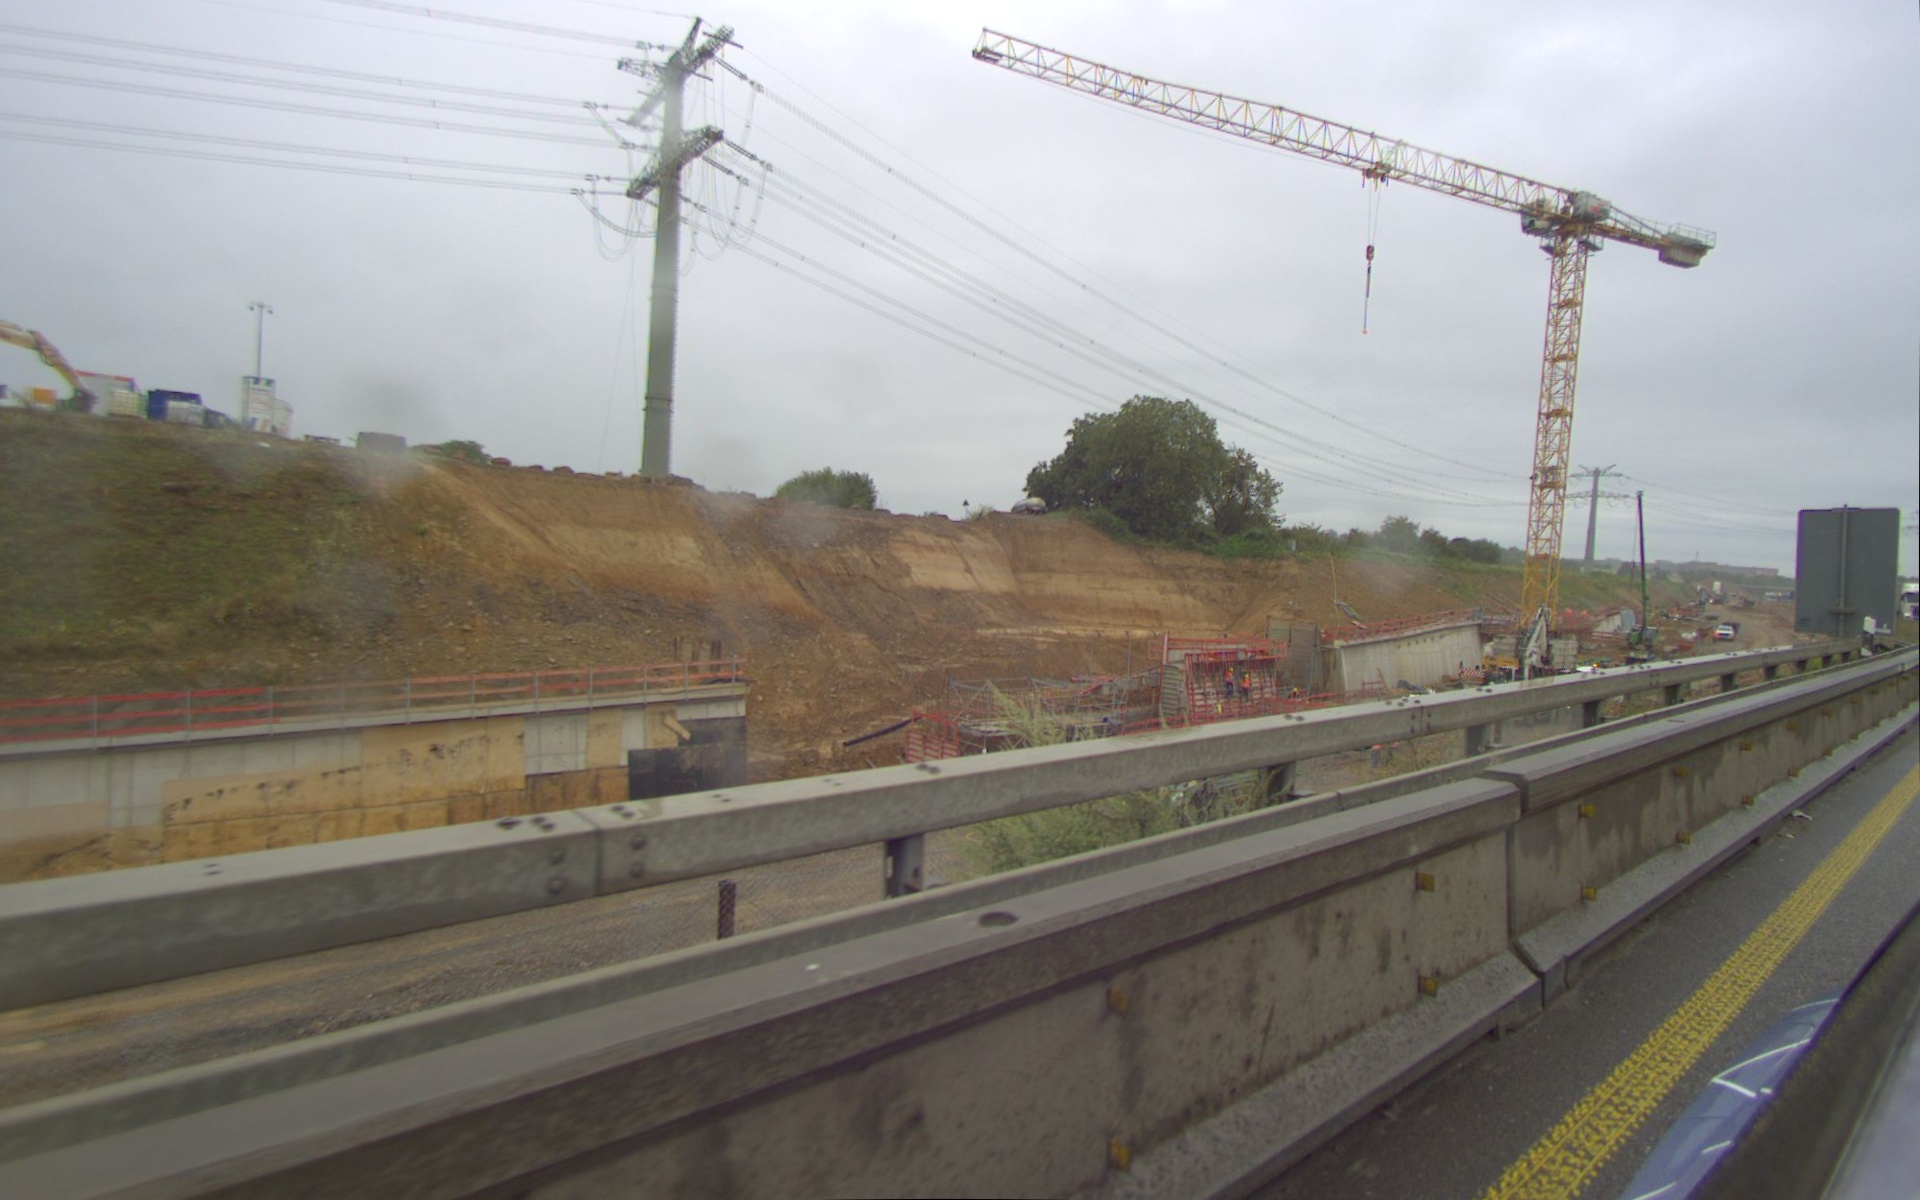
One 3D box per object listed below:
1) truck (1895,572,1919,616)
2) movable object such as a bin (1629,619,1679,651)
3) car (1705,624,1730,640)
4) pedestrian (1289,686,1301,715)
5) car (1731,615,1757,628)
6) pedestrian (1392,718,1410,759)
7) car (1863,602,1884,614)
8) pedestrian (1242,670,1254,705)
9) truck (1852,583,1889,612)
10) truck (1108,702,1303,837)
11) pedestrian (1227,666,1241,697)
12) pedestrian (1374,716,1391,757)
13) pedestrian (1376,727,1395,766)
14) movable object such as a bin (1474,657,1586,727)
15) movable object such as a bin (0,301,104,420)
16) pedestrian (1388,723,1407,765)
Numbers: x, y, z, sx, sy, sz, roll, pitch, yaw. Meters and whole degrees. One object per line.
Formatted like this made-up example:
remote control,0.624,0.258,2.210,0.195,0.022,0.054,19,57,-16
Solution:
truck,100.399,-0.647,105.028,4.301,4.399,13.213,0,0,40
movable object such as a bin,75.514,3.756,110.083,3.935,2.914,3.498,-1,8,-45
car,90.911,3.854,121.465,1.856,1.638,4.015,3,3,44
pedestrian,21.873,6.545,66.128,0.474,1.781,0.488,0,4,-44
car,110.063,3.017,142.093,2.346,1.638,4.782,3,3,44
pedestrian,22.009,6.907,50.529,0.474,1.928,0.602,0,3,-44
car,116.303,1.049,128.899,3.935,1.445,1.786,0,0,-45
pedestrian,17.947,5.446,63.071,0.474,2.127,0.488,0,-4,-44
truck,129.188,-0.388,143.563,8.200,3.942,3.538,0,0,-45
truck,9.797,6.411,39.716,8.917,3.655,2.709,-2,4,-41
pedestrian,16.797,4.989,62.107,0.571,1.827,0.489,-3,-3,-4
pedestrian,21.507,6.946,51.515,0.474,1.928,0.602,0,4,-44
pedestrian,20.841,7.176,49.599,0.474,1.790,0.602,0,5,-44
movable object such as a bin,34.896,5.492,61.910,6.528,3.466,3.520,-1,2,-36
movable object such as a bin,-41.510,-10.329,42.678,8.025,4.258,3.109,0,2,-37
pedestrian,21.554,7.096,49.897,0.604,1.928,0.602,0,3,-44
